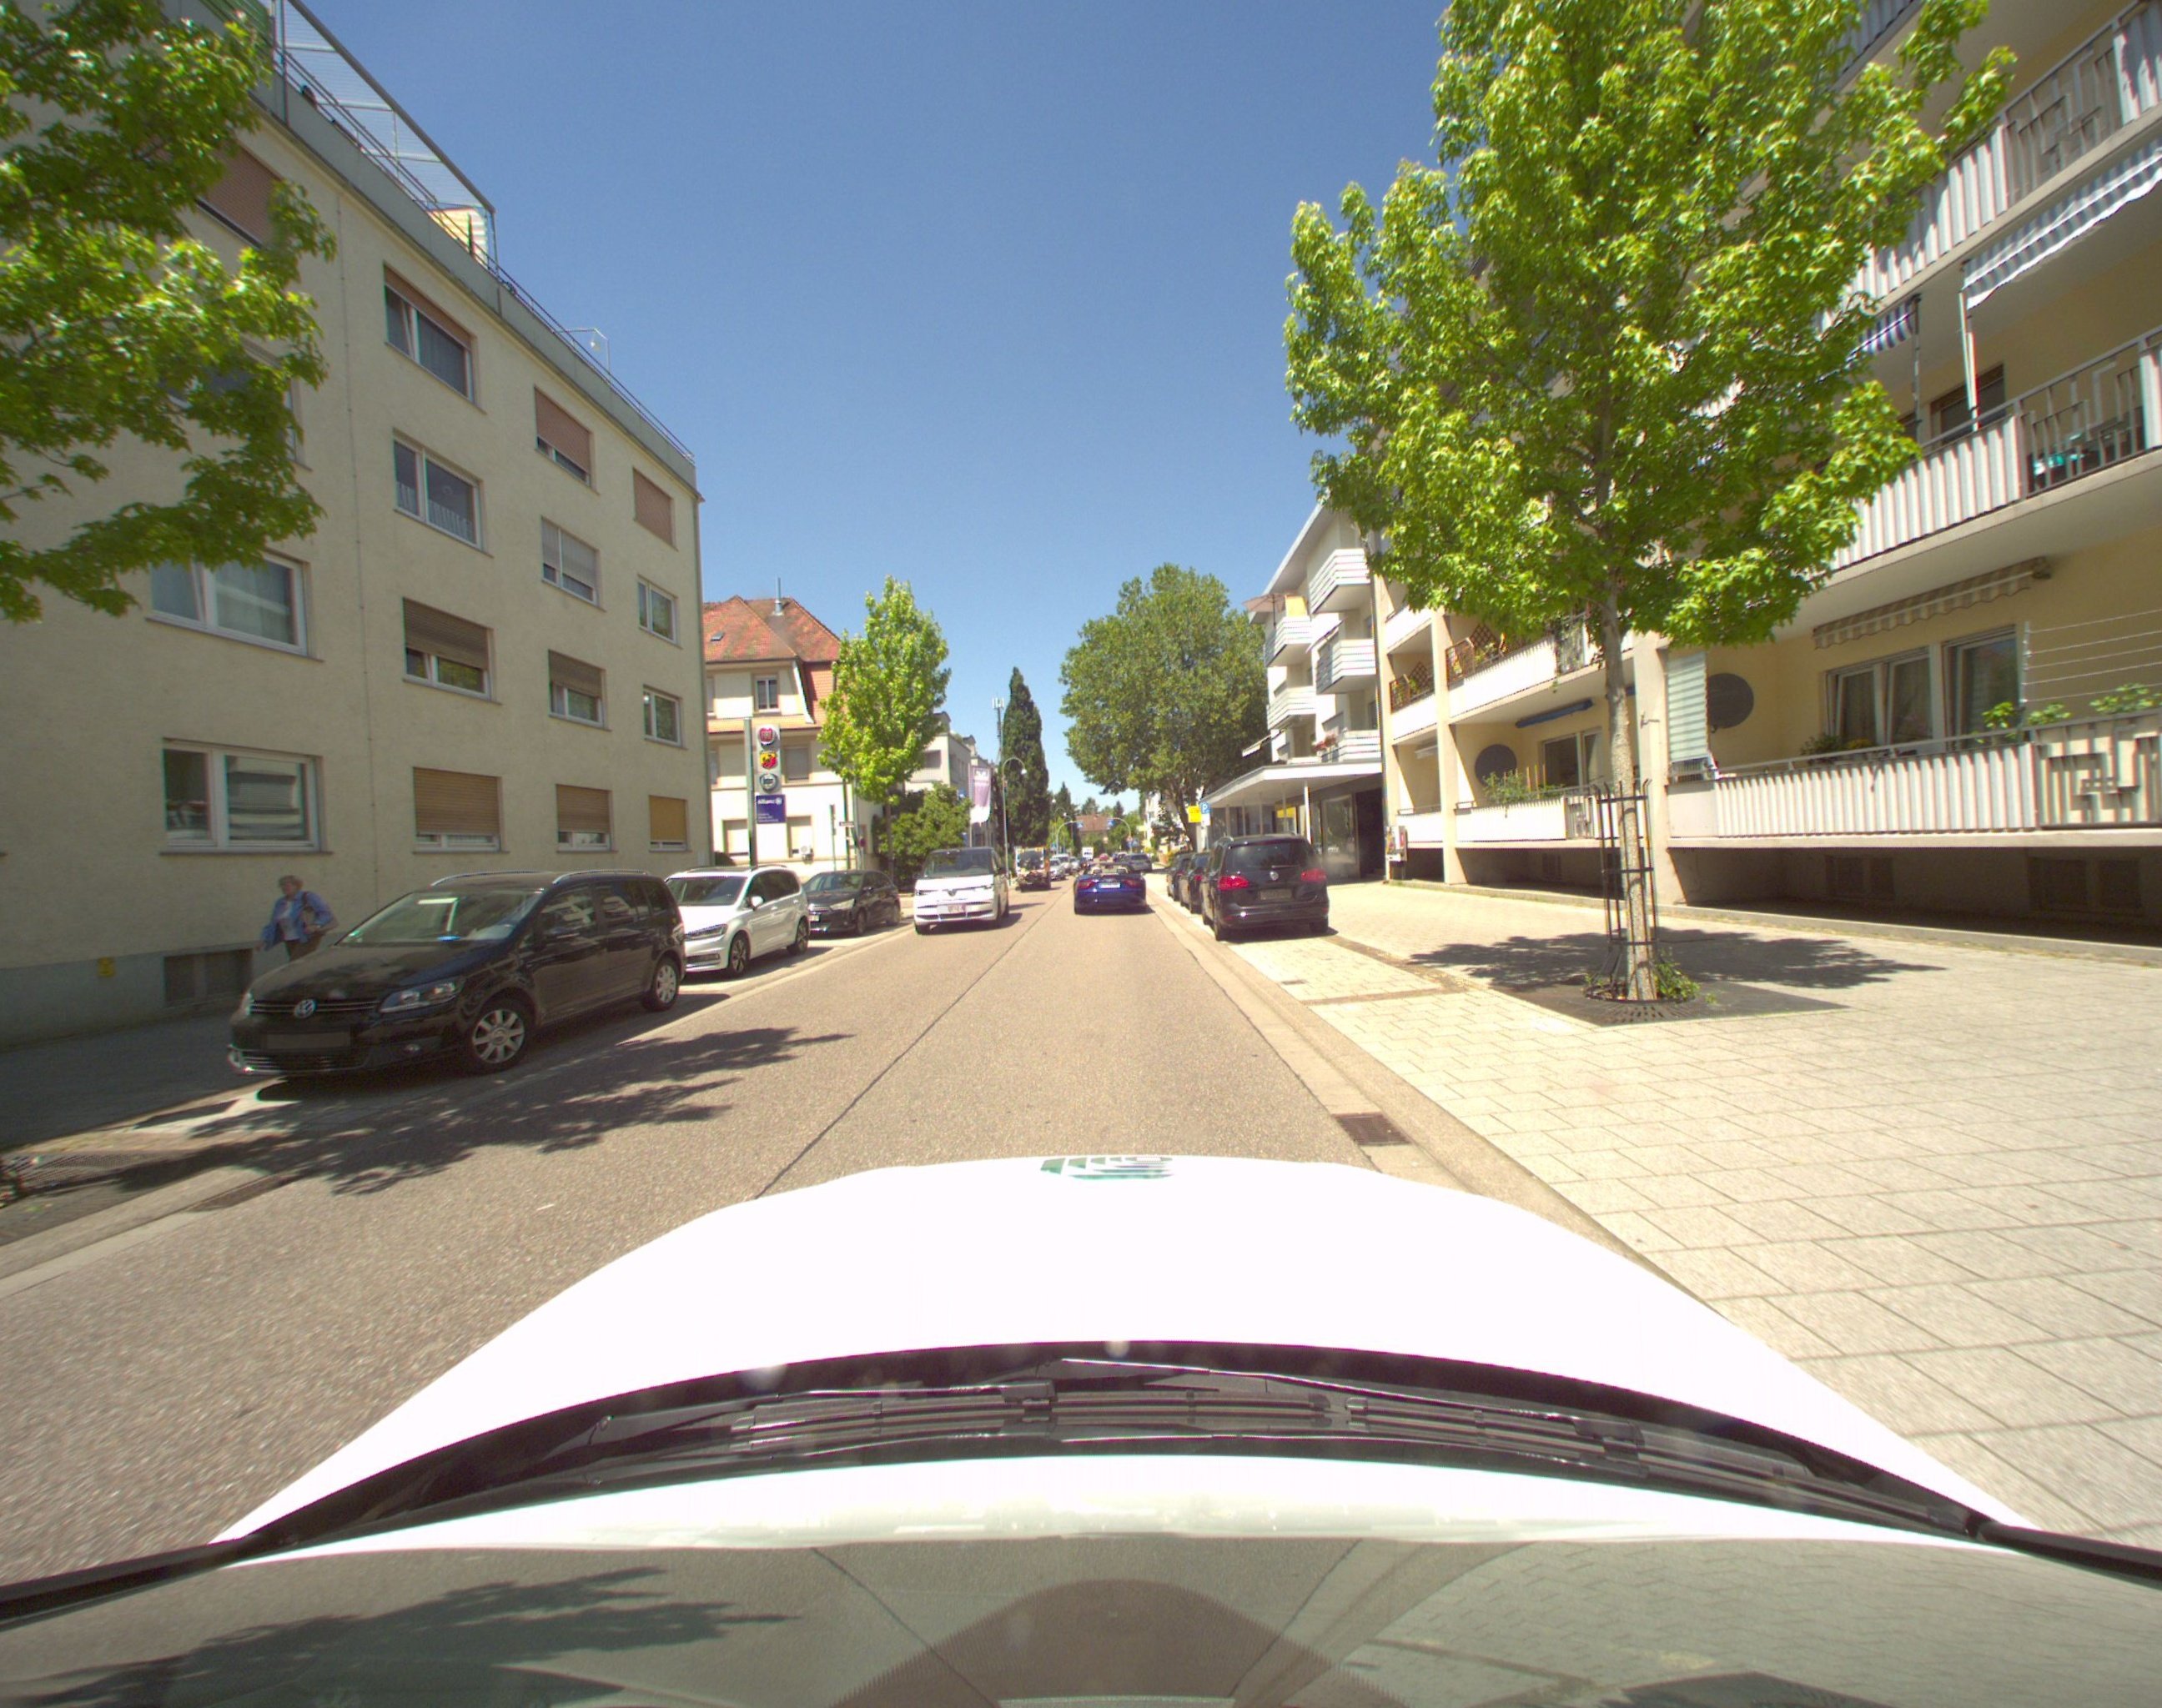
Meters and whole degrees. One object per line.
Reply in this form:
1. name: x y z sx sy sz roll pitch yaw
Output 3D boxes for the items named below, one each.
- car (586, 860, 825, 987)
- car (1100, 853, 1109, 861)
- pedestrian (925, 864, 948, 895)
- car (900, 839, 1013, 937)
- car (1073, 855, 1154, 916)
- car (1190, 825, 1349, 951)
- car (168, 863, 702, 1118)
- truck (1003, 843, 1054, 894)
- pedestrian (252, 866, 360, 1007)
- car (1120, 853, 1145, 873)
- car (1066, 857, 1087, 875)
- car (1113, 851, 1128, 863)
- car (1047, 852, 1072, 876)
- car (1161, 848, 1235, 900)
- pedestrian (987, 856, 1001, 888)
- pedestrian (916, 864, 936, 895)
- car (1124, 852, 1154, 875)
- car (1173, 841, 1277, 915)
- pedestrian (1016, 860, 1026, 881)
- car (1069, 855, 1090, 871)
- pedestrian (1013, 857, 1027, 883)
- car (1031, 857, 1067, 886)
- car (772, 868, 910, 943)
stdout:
1. car: -5.849 0.968 13.402 1.818 1.619 4.392 -2 0 0
2. car: 4.874 0.698 167.303 1.763 1.476 4.138 -3 -1 1
3. pedestrian: -6.779 1.200 38.258 0.775 1.371 0.544 -7 3 -39
4. car: -2.847 0.731 19.762 1.901 1.922 4.903 -5 0 -1
5. car: 0.804 0.784 22.510 1.970 1.398 4.626 -2 0 0
6. car: 3.227 0.467 14.942 1.985 1.798 4.574 -5 1 3
7. car: -5.647 0.999 8.028 1.723 1.740 4.392 -1 0 0
8. truck: -2.409 0.620 38.466 1.798 2.117 4.717 -5 0 2
9. pedestrian: -9.965 1.036 10.501 0.657 1.680 0.628 -5 2 -16
10. car: 4.642 0.784 73.652 1.969 1.556 4.351 -5 1 2
11. car: -0.428 1.144 77.785 1.763 1.476 4.138 -5 0 1
12. car: 5.778 0.438 118.356 1.944 1.476 4.138 -5 0 1
13. car: -1.733 0.788 66.735 1.764 1.767 4.137 -5 1 0
14. car: 3.716 0.626 26.503 1.838 1.414 4.164 -5 -1 2
15. pedestrian: -4.758 1.002 44.641 0.629 1.691 0.962 -2 -2 1
16. pedestrian: -7.209 1.187 37.824 0.600 1.371 0.687 -6 2 -32
17. car: 4.316 0.675 61.406 1.969 1.450 4.351 -5 1 2
18. car: 3.537 0.578 20.832 1.887 1.530 4.570 -5 -1 2
19. pedestrian: -4.669 1.250 63.132 0.585 1.574 0.781 -3 0 1
20. car: -0.157 0.948 84.885 1.944 1.476 4.138 -5 0 1
21. pedestrian: -4.698 1.241 63.190 0.846 1.915 0.762 -5 2 2
22. car: -2.045 1.104 53.478 1.942 1.508 4.799 -5 2 1
23. car: -5.606 1.135 19.605 1.746 1.474 4.326 -2 0 4
